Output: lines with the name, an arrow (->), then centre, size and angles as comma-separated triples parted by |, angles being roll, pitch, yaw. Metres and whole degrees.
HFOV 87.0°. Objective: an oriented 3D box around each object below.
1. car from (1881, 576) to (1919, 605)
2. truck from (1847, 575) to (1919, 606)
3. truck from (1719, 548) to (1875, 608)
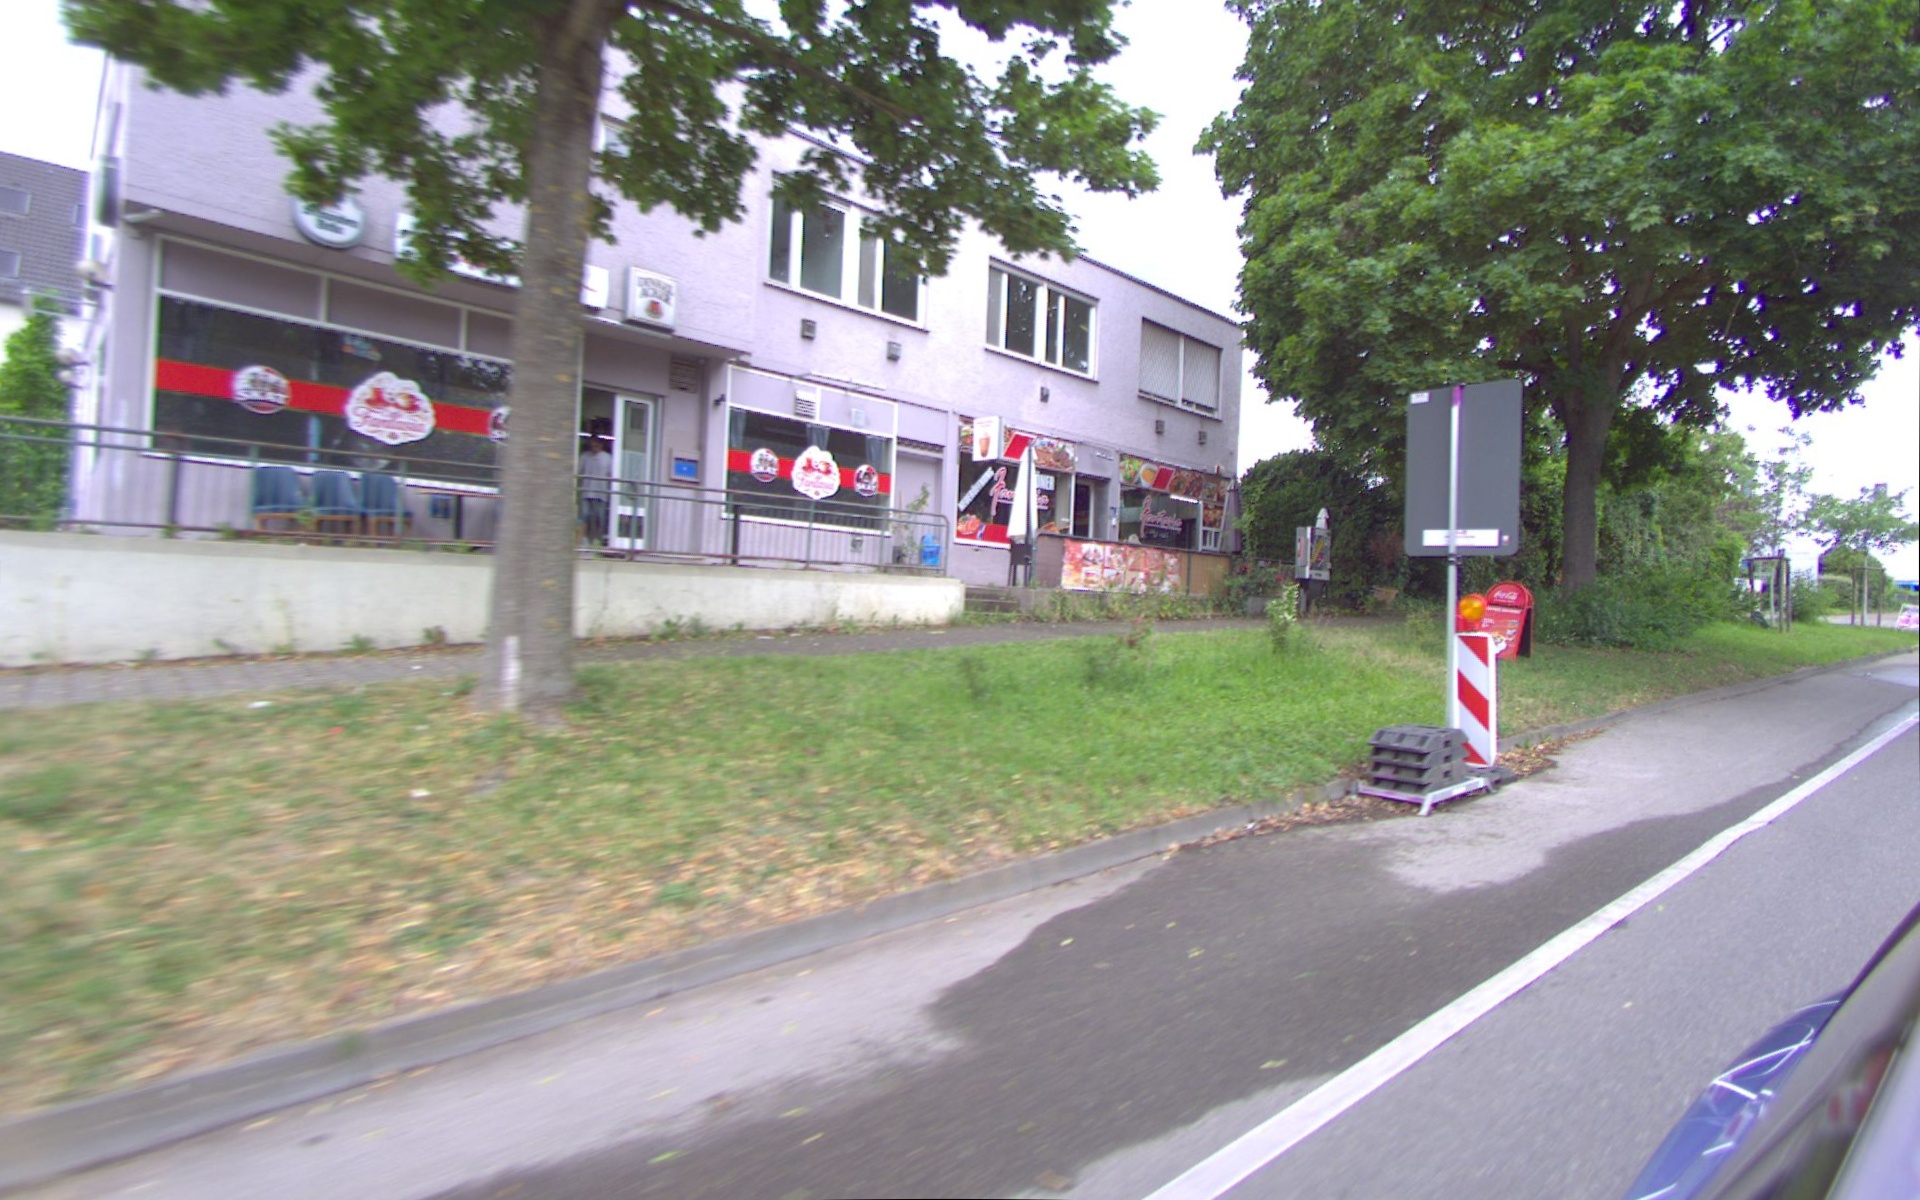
car -> 74.118, -0.696, 77.306 | 5.222, 2.215, 2.048 | 1, 1, 33
truck -> 68.144, -0.694, 72.728 | 6.199, 2.240, 2.224 | 1, 1, 30
truck -> 51.981, -1.411, 63.118 | 7.135, 3.520, 2.588 | 2, 1, 33
